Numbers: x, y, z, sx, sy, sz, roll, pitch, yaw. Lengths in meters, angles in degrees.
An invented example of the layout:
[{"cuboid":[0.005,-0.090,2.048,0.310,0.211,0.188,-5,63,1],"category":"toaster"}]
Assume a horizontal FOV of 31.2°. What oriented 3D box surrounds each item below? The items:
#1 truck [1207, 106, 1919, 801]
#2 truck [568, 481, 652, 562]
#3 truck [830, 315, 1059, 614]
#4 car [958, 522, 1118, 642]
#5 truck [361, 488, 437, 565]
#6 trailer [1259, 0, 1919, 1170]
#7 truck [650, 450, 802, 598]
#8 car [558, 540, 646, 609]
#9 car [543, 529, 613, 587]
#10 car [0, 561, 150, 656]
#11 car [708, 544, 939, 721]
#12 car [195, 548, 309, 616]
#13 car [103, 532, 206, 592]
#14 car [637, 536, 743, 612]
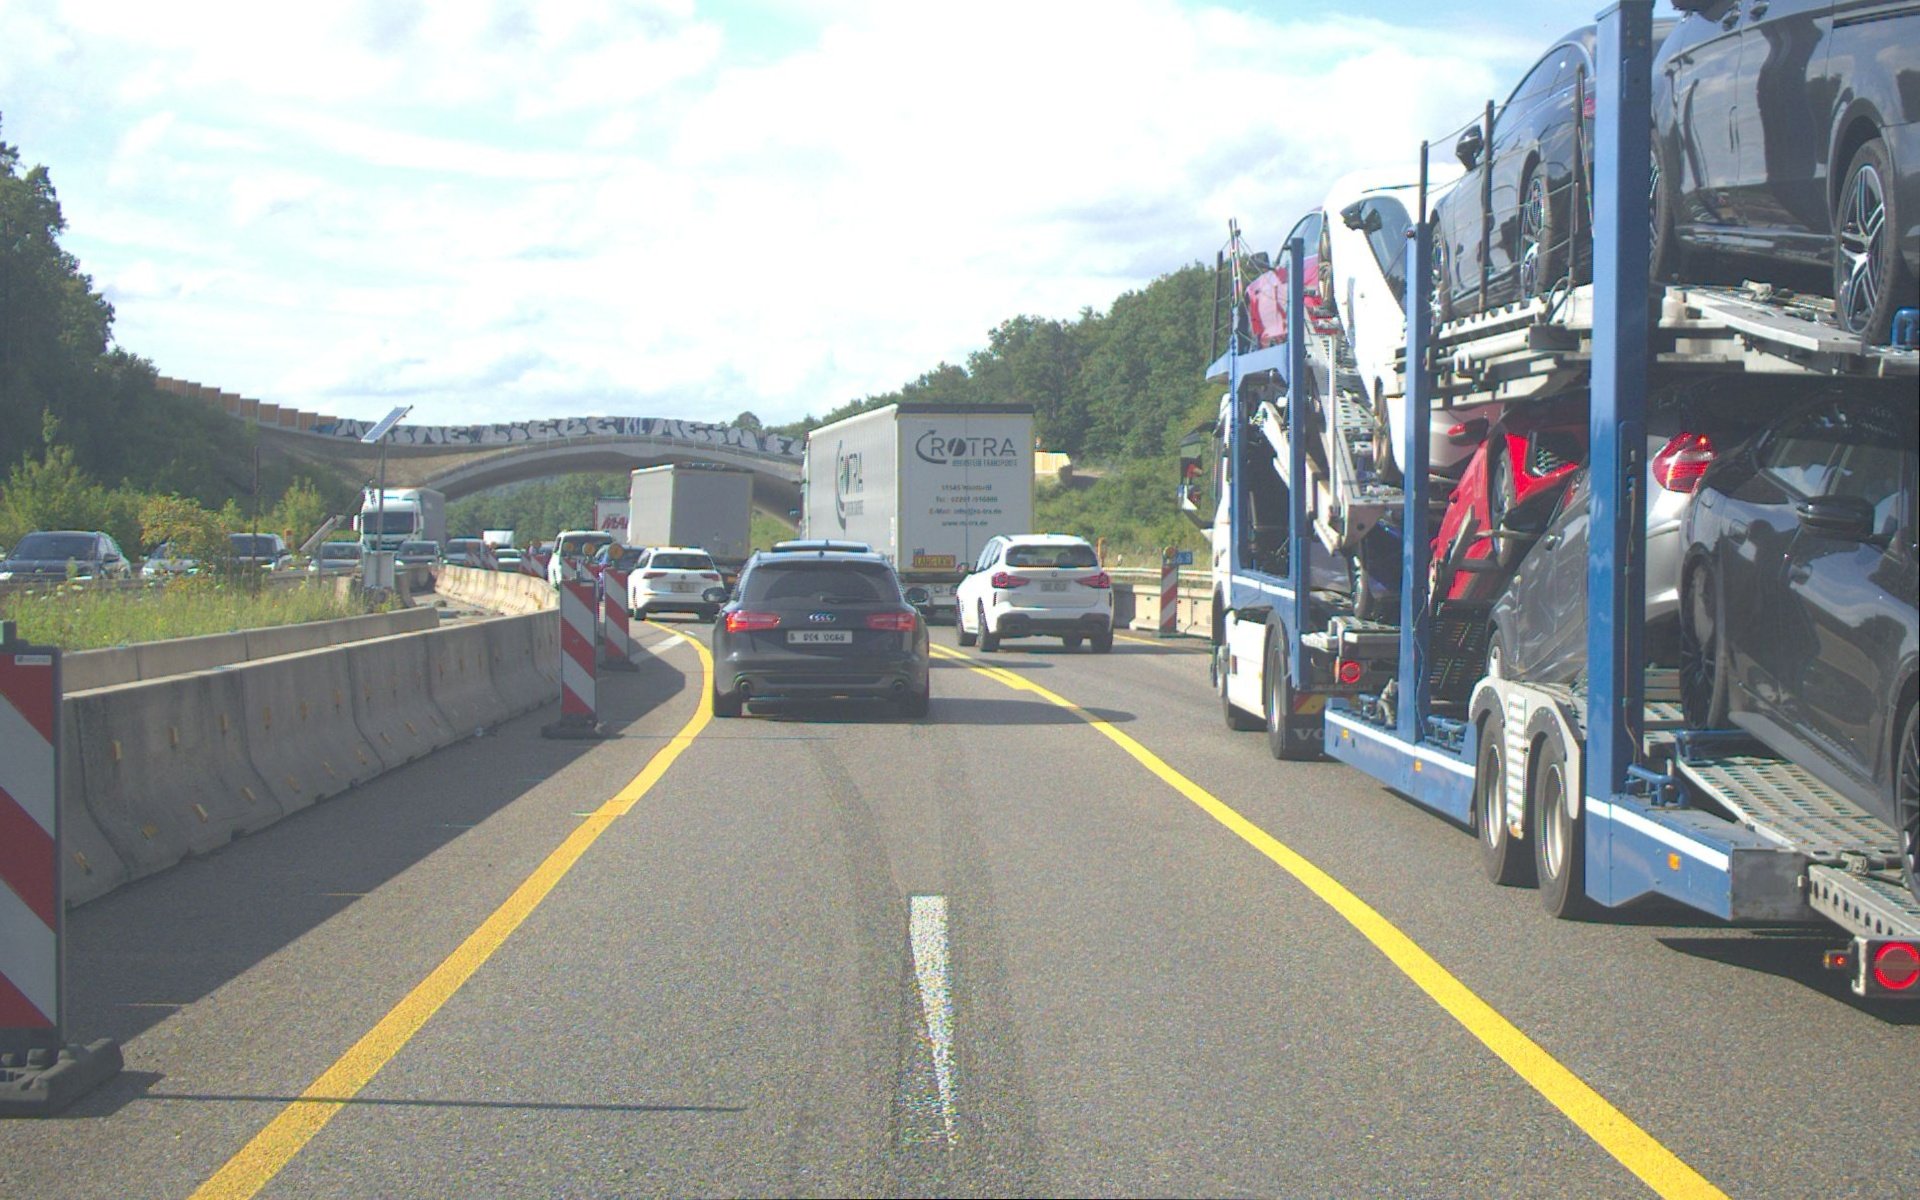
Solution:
[{"cuboid":[4.011,-0.954,24.902,3.761,4.182,7.951,1,1,0],"category":"truck"},{"cuboid":[-17.726,-3.943,173.456,3.653,3.915,11.070,1,1,-9],"category":"truck"},{"cuboid":[-0.584,-2.577,70.170,3.677,5.335,16.204,1,1,-4],"category":"truck"},{"cuboid":[1.086,-0.281,49.731,1.890,1.637,4.018,1,1,-5],"category":"car"},{"cuboid":[-24.563,-3.212,150.688,2.756,3.287,5.815,1,1,-4],"category":"truck"},{"cuboid":[4.080,-0.817,16.423,3.726,4.182,16.228,1,1,0],"category":"trailer"},{"cuboid":[-7.831,-2.466,113.165,4.318,4.584,11.127,1,1,-7],"category":"truck"},{"cuboid":[-8.896,-0.648,85.156,1.890,1.637,4.019,1,1,-10],"category":"car"},{"cuboid":[-11.211,-1.235,100.709,1.890,1.637,4.019,1,1,-8],"category":"car"},{"cuboid":[-16.029,0.118,61.576,1.968,1.597,4.948,1,1,-1],"category":"car"},{"cuboid":[-1.193,0.235,30.360,1.890,1.441,4.000,1,1,-2],"category":"car"},{"cuboid":[-17.567,-0.472,85.526,1.968,1.597,4.948,1,1,-2],"category":"car"},{"cuboid":[-22.292,-1.064,95.324,1.968,1.597,4.948,1,1,-4],"category":"car"},{"cuboid":[-5.411,-0.537,68.529,1.890,1.441,4.001,1,1,-7],"category":"car"}]
